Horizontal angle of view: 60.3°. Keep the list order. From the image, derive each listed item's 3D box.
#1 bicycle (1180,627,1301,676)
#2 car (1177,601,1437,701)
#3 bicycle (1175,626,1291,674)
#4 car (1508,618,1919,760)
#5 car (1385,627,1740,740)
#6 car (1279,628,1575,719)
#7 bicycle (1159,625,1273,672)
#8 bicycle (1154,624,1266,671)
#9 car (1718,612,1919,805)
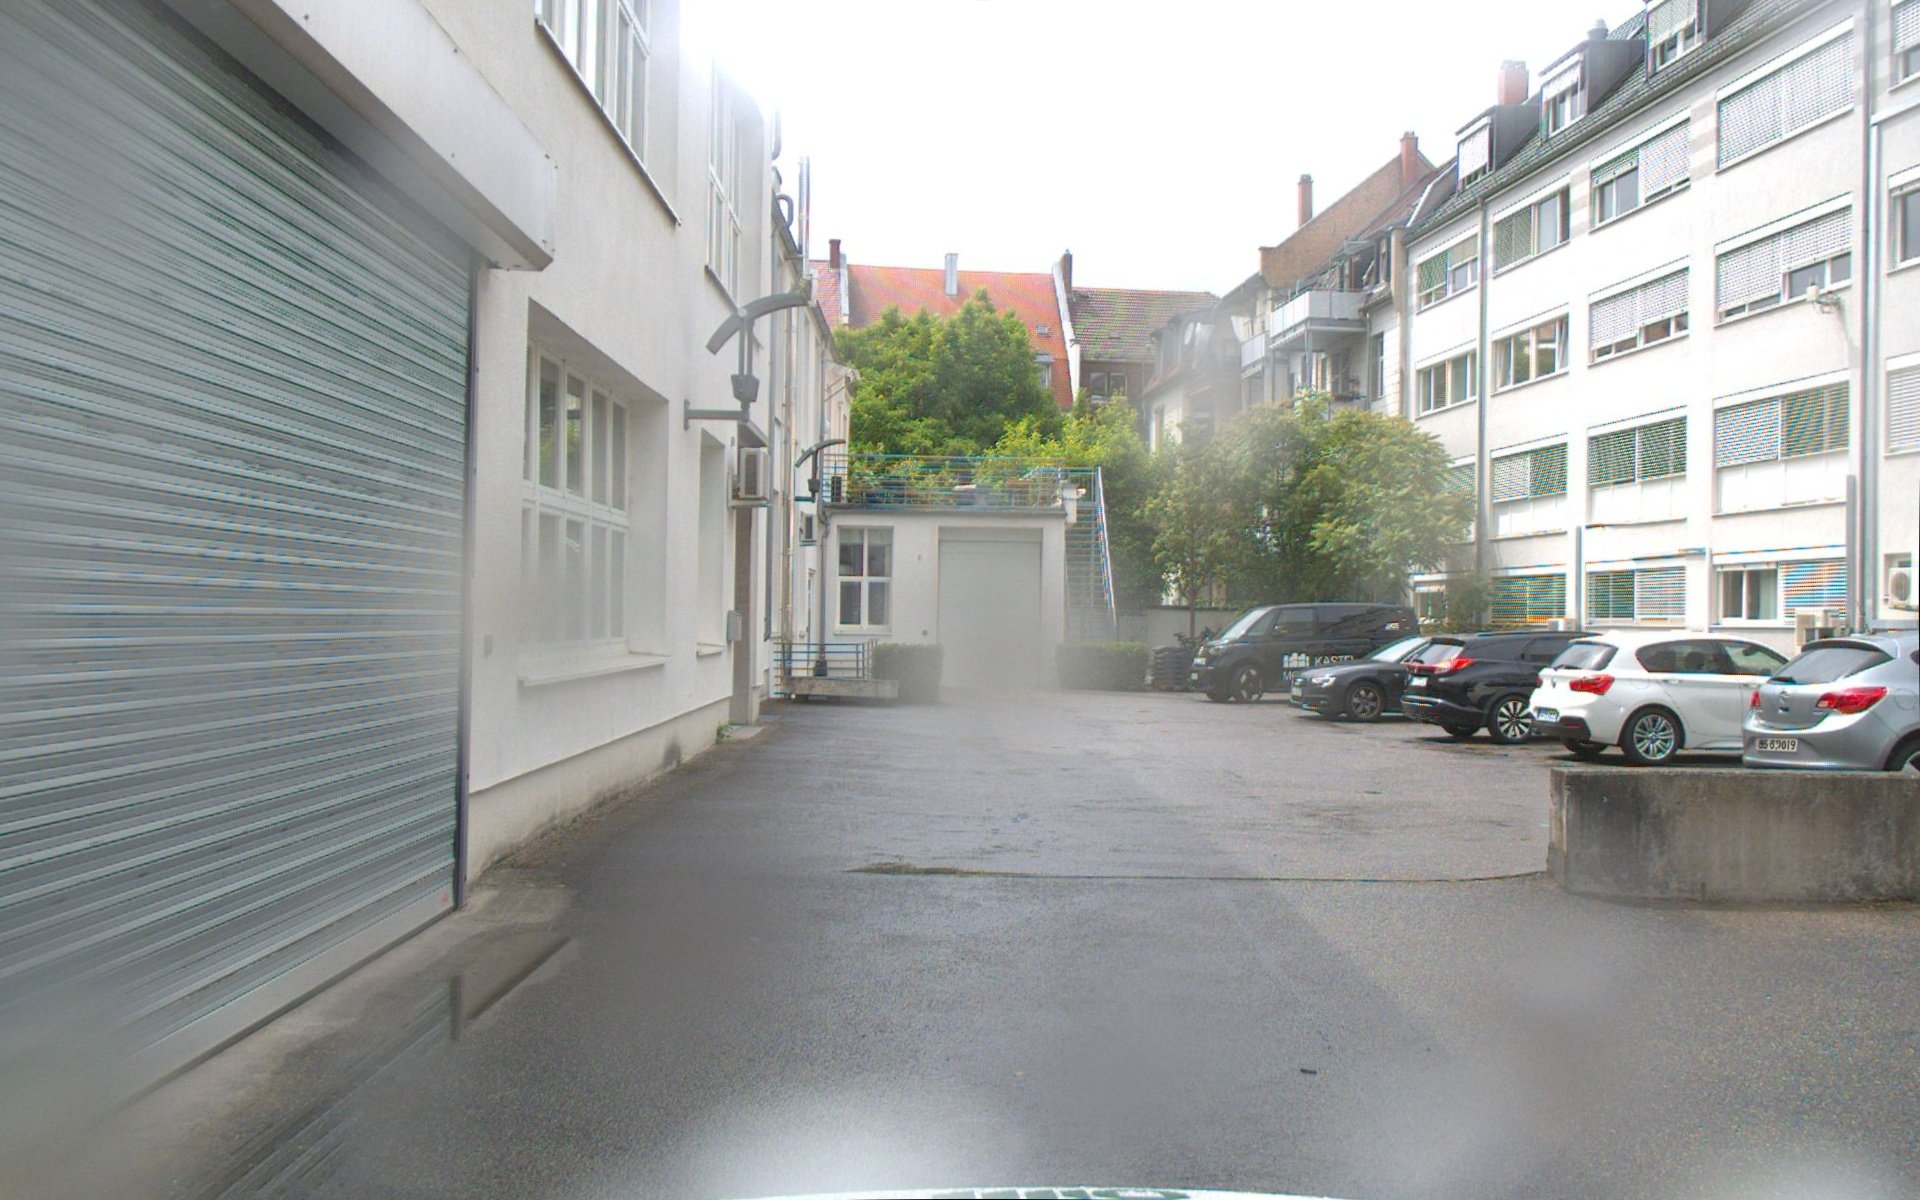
[{"bbox_3d":[6.972,1.282,41.229,2.865,1.097,0.689,2,0,-4],"label":"bicycle"},{"bbox_3d":[6.814,0.969,32.765,4.620,1.865,2.107,0,0,-8],"label":"car"},{"bbox_3d":[6.920,1.274,42.006,2.787,1.097,0.689,2,0,-4],"label":"bicycle"},{"bbox_3d":[8.547,0.965,18.803,4.018,1.481,1.831,0,-1,-5],"label":"car"},{"bbox_3d":[8.065,1.087,22.355,4.091,1.426,1.936,0,-1,-8],"label":"car"},{"bbox_3d":[7.557,1.164,26.962,4.271,1.372,1.857,0,0,-8],"label":"car"},{"bbox_3d":[6.597,1.256,42.708,2.787,1.097,0.689,2,0,-4],"label":"bicycle"},{"bbox_3d":[6.559,1.249,43.421,2.787,1.097,0.689,2,0,-4],"label":"bicycle"},{"bbox_3d":[8.666,0.855,13.736,4.000,1.483,1.666,0,-2,-5],"label":"car"}]
